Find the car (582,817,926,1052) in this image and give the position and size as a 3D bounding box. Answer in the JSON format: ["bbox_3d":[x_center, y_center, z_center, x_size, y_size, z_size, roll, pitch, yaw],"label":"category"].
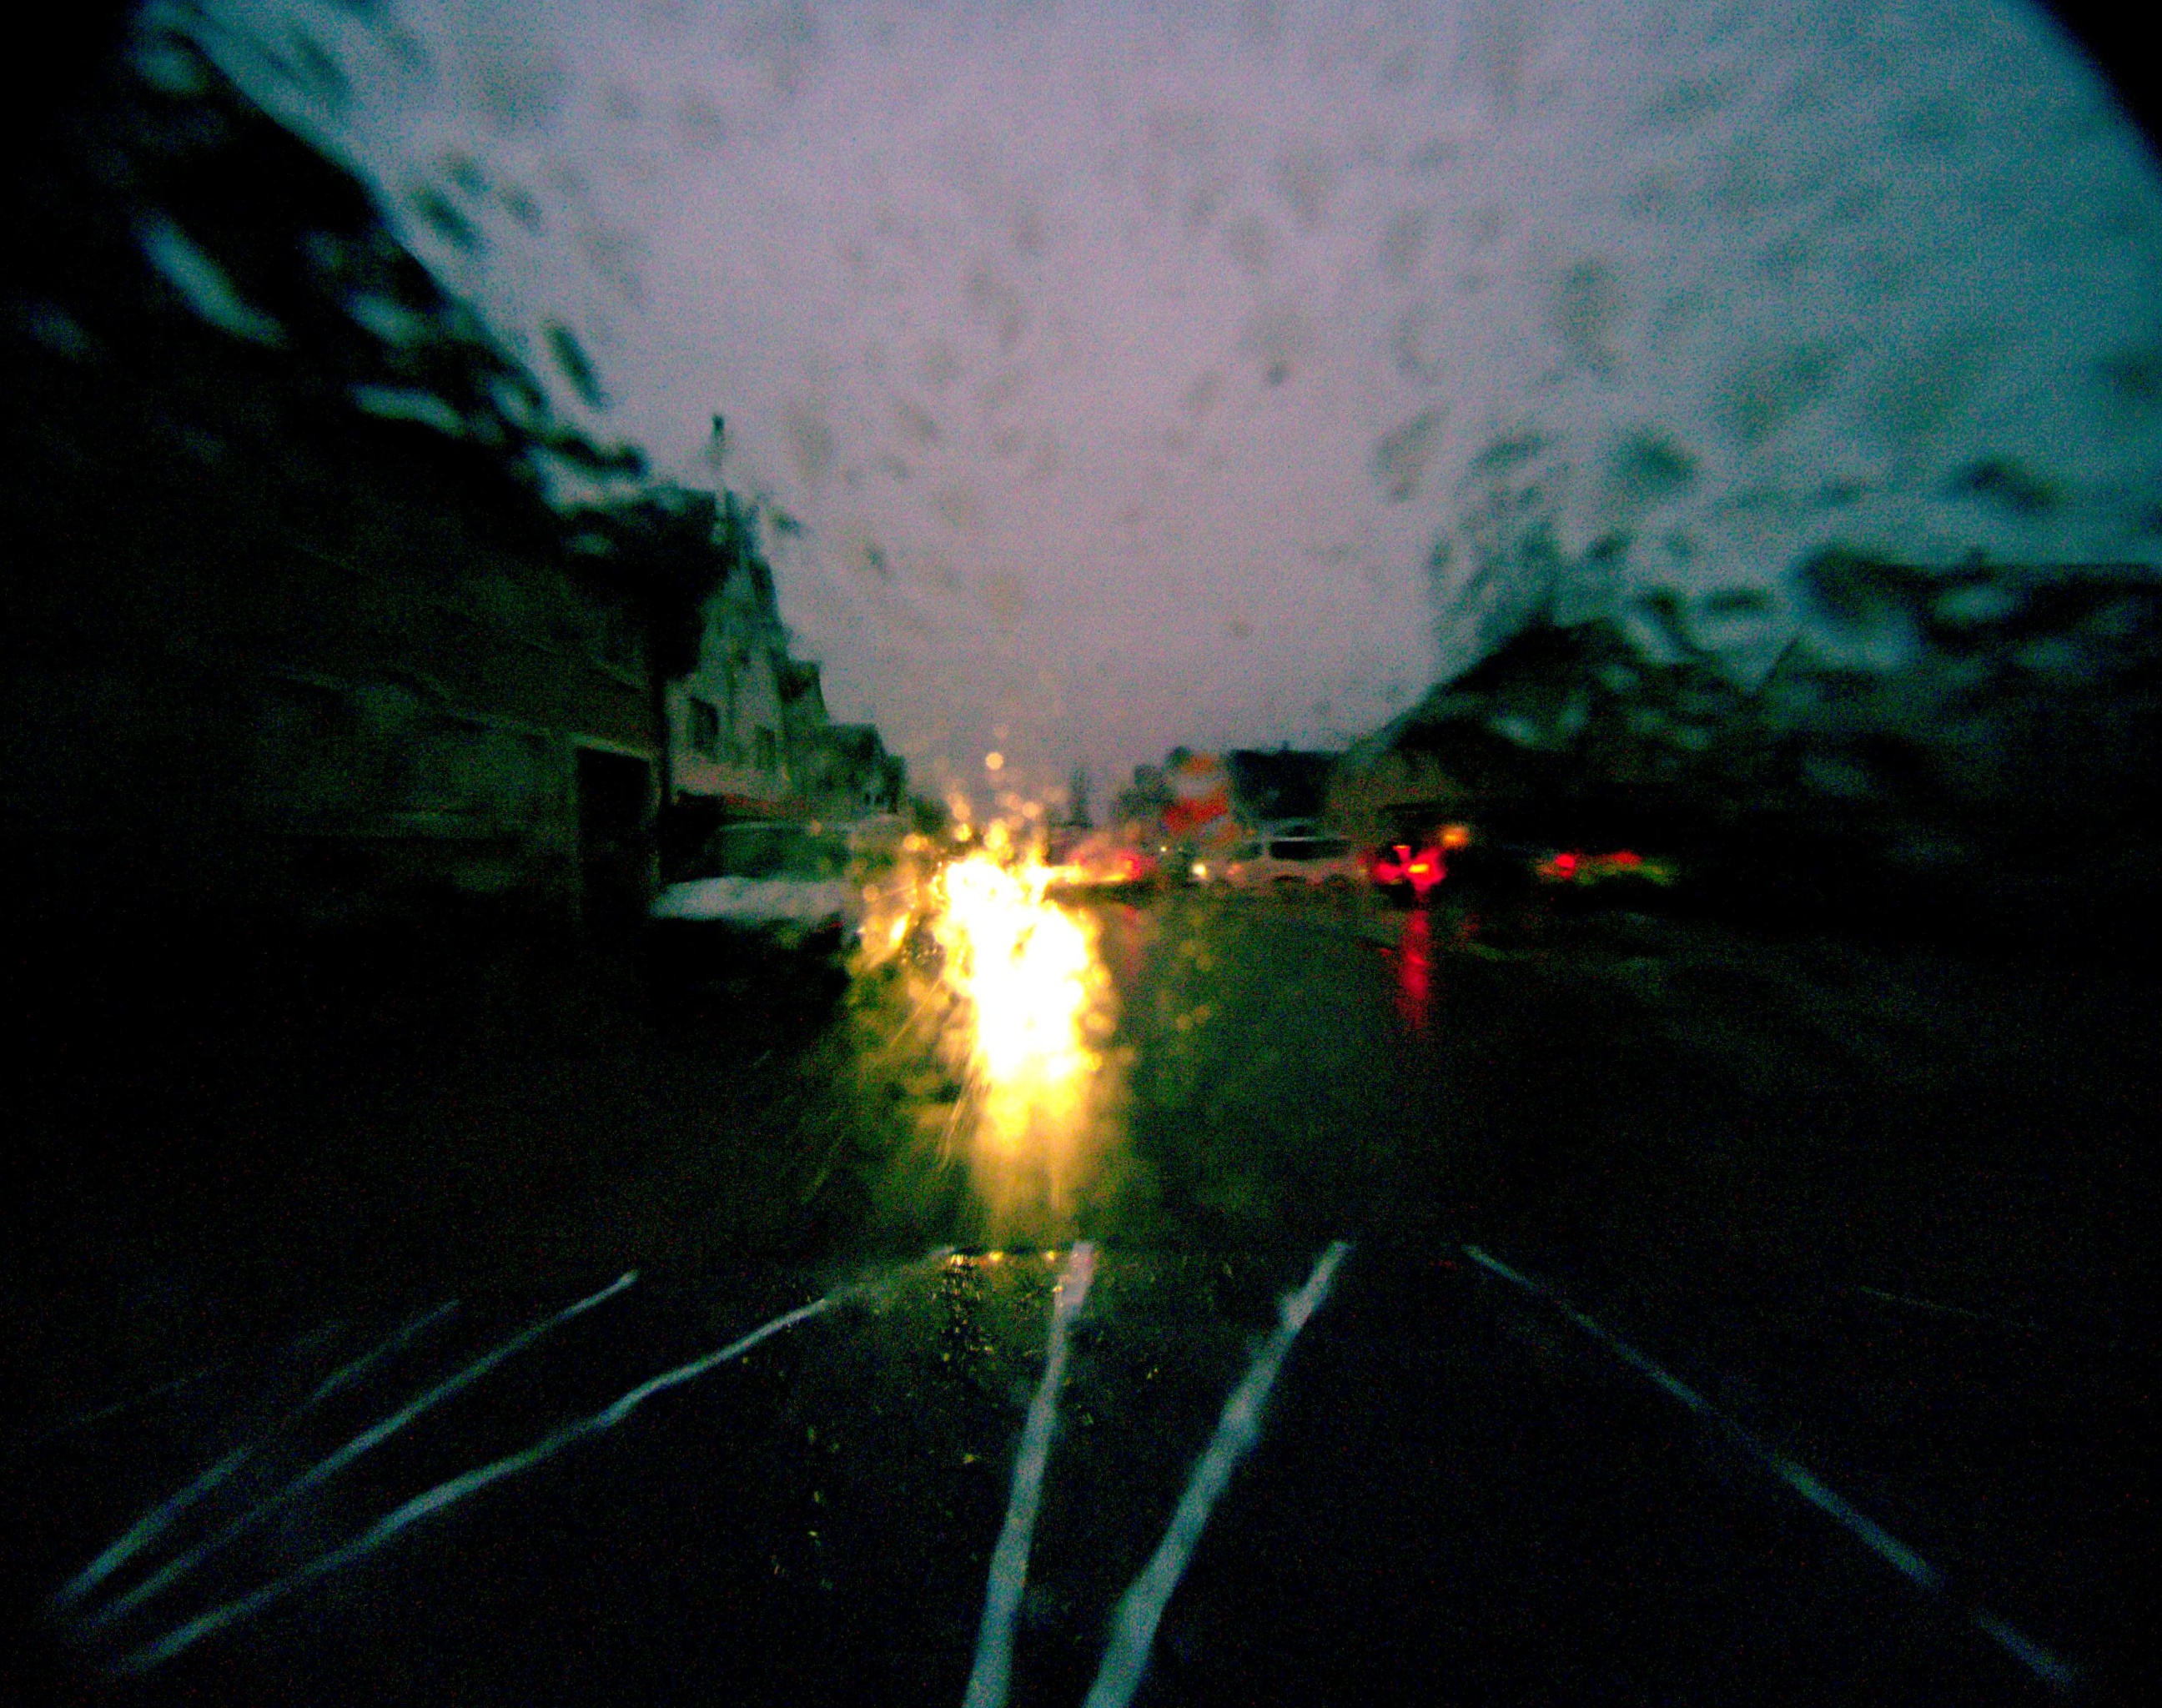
[{"bbox_3d":[-3.227,0.677,8.801,1.978,1.948,4.851,-1,0,-2],"label":"car"}]

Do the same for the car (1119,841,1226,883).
[{"bbox_3d":[3.745,0.315,31.607,4.000,1.674,1.998,-1,0,-10],"label":"car"}]

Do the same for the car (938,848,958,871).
[{"bbox_3d":[-12.349,0.523,70.351,1.750,2.001,3.804,1,-1,-11],"label":"car"}]

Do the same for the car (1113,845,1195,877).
[{"bbox_3d":[4.329,0.397,45.303,4.518,1.855,1.867,-1,0,-10],"label":"car"}]

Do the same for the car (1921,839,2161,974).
[{"bbox_3d":[12.837,0.553,8.623,4.064,1.451,1.760,0,1,24],"label":"car"}]

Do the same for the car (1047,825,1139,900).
[{"bbox_3d":[0.273,0.296,28.475,2.202,2.476,6.136,-1,0,-11],"label":"car"}]

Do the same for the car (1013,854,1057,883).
[{"bbox_3d":[-2.611,0.783,41.937,1.832,1.509,4.543,0,0,-11],"label":"car"}]

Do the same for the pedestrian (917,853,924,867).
[{"bbox_3d":[-17.519,0.670,83.141,0.657,1.596,0.722,-1,0,-8],"label":"pedestrian"}]

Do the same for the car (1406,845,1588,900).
[{"bbox_3d":[13.285,0.583,24.462,4.766,1.626,2.000,1,-1,0],"label":"car"}]

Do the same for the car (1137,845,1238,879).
[{"bbox_3d":[5.543,0.410,39.857,4.881,1.674,1.999,-1,-1,-8],"label":"car"}]

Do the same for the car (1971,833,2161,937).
[{"bbox_3d":[18.951,0.502,13.434,1.719,1.718,3.999,-2,1,0],"label":"car"}]

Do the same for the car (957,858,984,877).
[{"bbox_3d":[-7.452,0.880,50.988,1.666,1.205,3.773,0,0,-10],"label":"car"}]

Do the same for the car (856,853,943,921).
[{"bbox_3d":[-4.862,0.812,20.947,1.981,1.651,4.456,0,0,-9],"label":"car"}]

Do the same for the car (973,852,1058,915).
[{"bbox_3d":[-2.017,0.795,23.259,2.271,1.633,5.063,-1,0,-6],"label":"car"}]

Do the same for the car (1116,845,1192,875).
[{"bbox_3d":[4.583,0.383,48.075,4.428,1.790,1.843,-1,0,-10],"label":"car"}]

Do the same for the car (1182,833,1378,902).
[{"bbox_3d":[6.241,0.443,24.386,5.773,1.934,1.991,-2,0,4],"label":"car"}]

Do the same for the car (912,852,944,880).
[{"bbox_3d":[-10.497,0.805,52.380,2.000,1.774,4.515,-1,0,-10],"label":"car"}]

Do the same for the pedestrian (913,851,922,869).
[{"bbox_3d":[-16.378,0.567,76.139,0.820,1.754,1.059,-1,0,-10],"label":"pedestrian"}]

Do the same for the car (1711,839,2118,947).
[{"bbox_3d":[12.629,0.540,11.910,3.923,1.450,1.766,0,0,25],"label":"car"}]

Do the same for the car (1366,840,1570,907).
[{"bbox_3d":[10.245,0.468,20.296,4.449,1.623,2.153,-1,1,-9],"label":"car"}]
